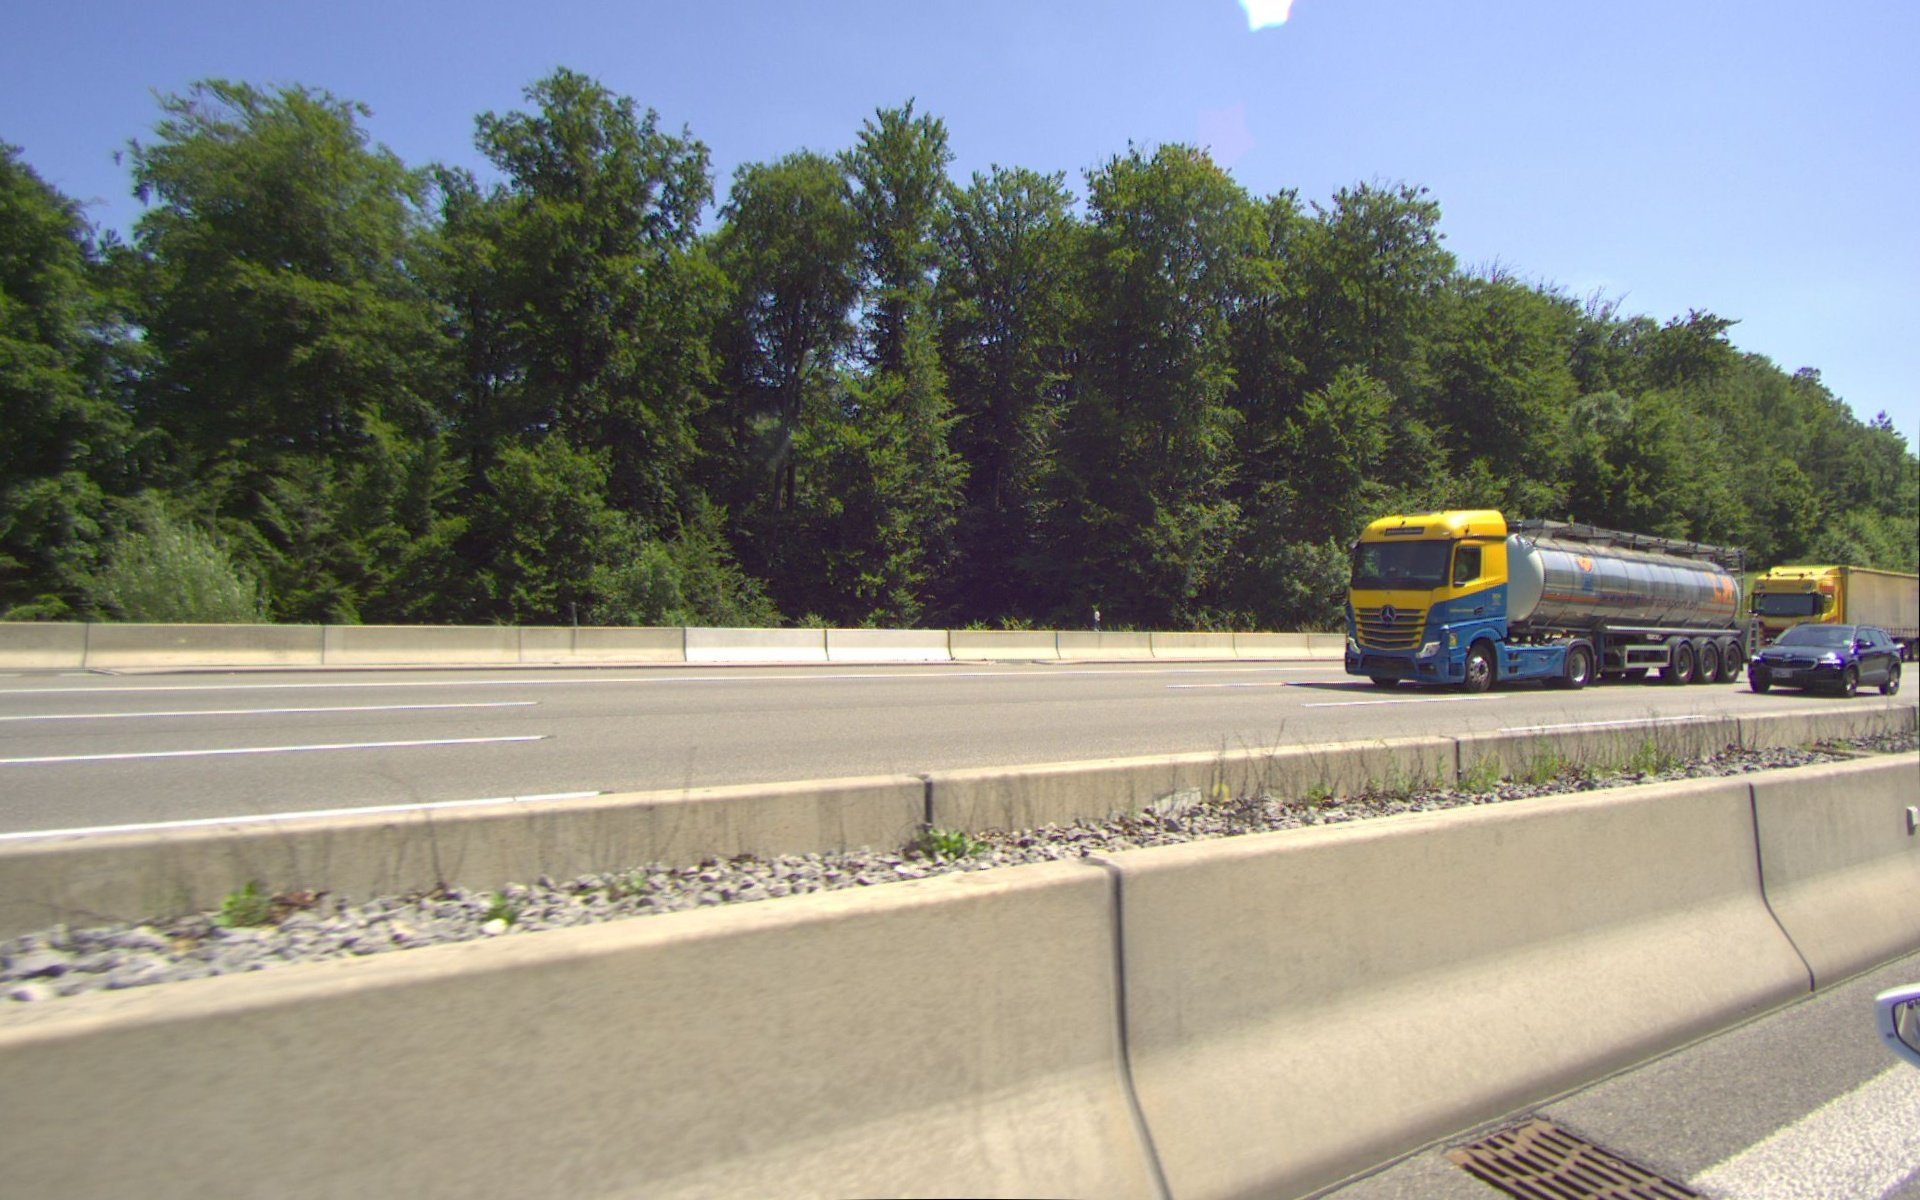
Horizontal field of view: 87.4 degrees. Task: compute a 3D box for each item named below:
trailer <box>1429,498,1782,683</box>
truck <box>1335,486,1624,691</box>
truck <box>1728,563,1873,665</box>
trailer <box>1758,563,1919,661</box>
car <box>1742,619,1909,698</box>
[{"bbox_3d":[16.605,-0.072,25.337,11.559,3.932,2.526,2,0,-31],"label":"trailer"},{"bbox_3d":[11.655,-0.143,22.360,6.723,3.992,2.518,2,0,-31],"label":"truck"},{"bbox_3d":[36.083,0.620,43.093,6.675,4.071,2.736,1,0,-31],"label":"truck"},{"bbox_3d":[41.460,0.661,46.436,13.570,4.058,2.708,2,0,-32],"label":"trailer"},{"bbox_3d":[20.125,1.317,23.337,4.011,1.666,1.712,2,-1,-30],"label":"car"}]
